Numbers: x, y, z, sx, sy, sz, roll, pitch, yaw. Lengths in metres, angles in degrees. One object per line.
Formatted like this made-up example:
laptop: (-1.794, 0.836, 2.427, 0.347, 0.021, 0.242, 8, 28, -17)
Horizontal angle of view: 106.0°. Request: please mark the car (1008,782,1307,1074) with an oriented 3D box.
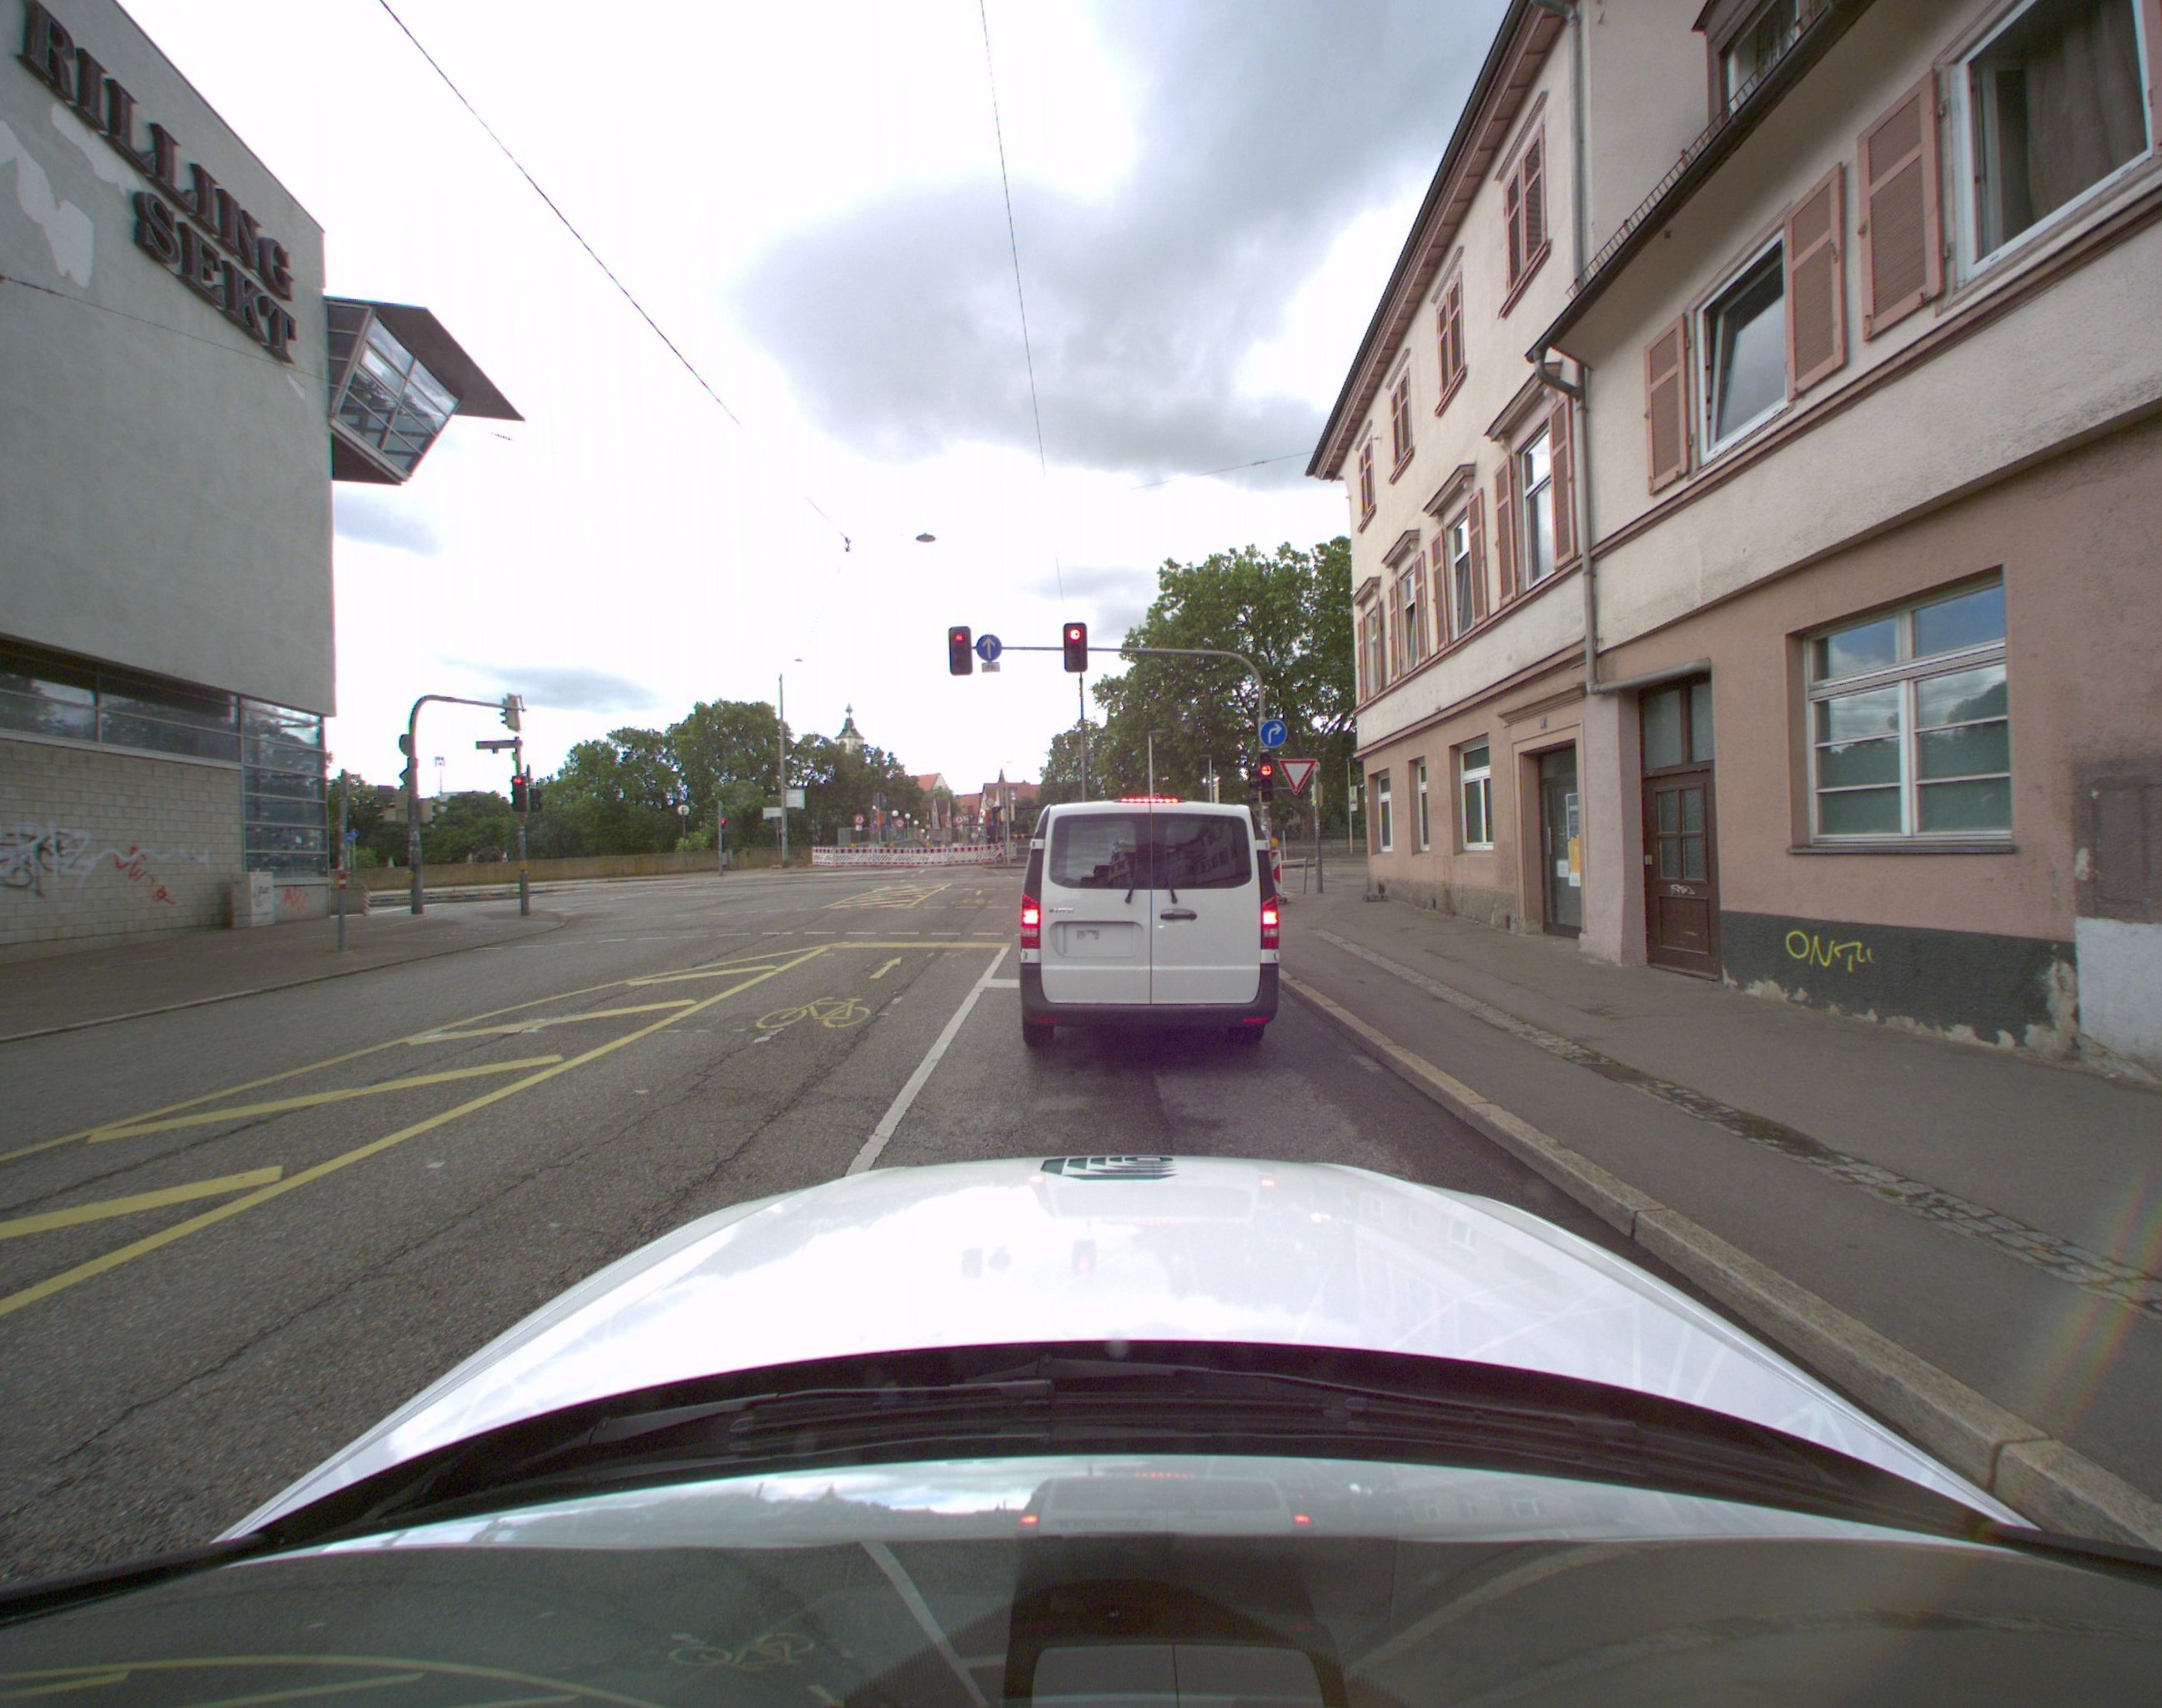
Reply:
car: (0.473, 0.422, 7.540, 1.988, 1.922, 4.247, -1, 2, -1)
